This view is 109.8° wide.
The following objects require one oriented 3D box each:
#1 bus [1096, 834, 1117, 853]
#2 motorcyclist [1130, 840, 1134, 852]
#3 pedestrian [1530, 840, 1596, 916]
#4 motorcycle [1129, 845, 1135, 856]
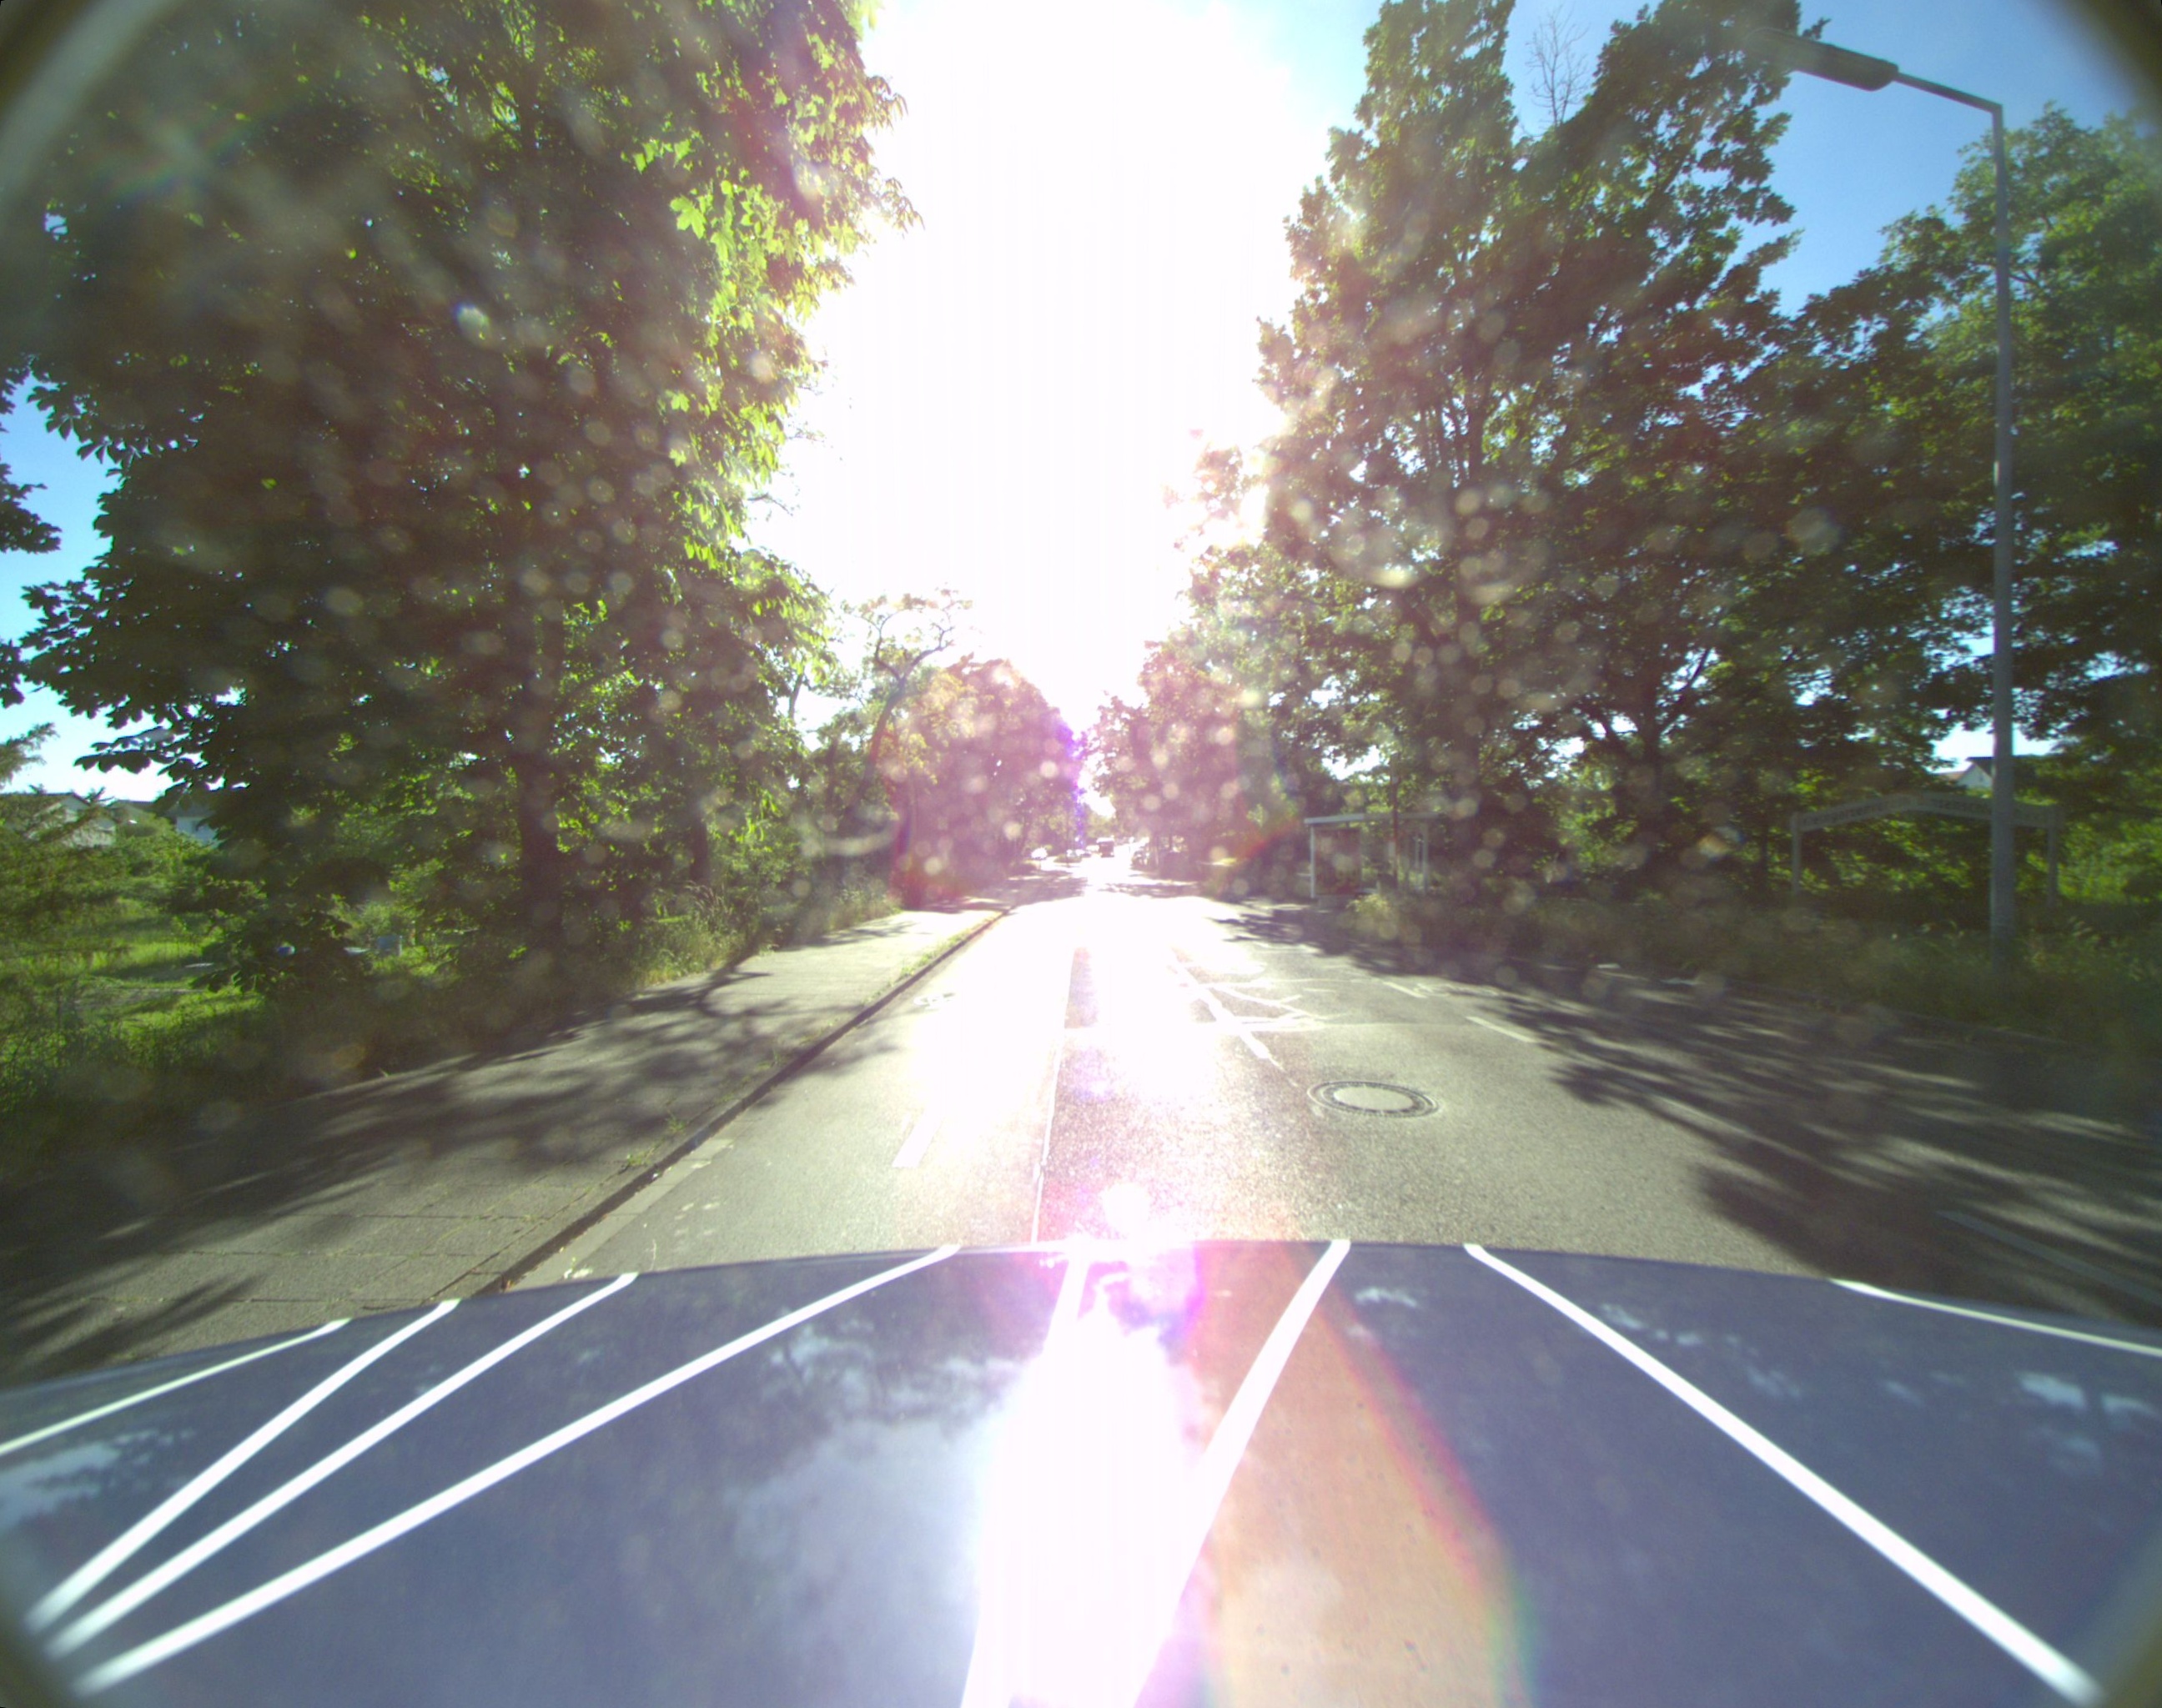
[{"bbox_3d":[4.255,-1.756,129.991,2.790,2.965,12.893,-2,0,-1],"label":"bus"},{"bbox_3d":[8.612,-1.318,128.833,0.537,2.002,0.826,-3,2,-2],"label":"motorcyclist"},{"bbox_3d":[11.089,0.542,17.520,0.915,1.678,0.891,-2,0,2],"label":"pedestrian"},{"bbox_3d":[8.647,-0.588,128.889,0.815,1.668,2.411,-3,1,-2],"label":"motorcycle"}]
